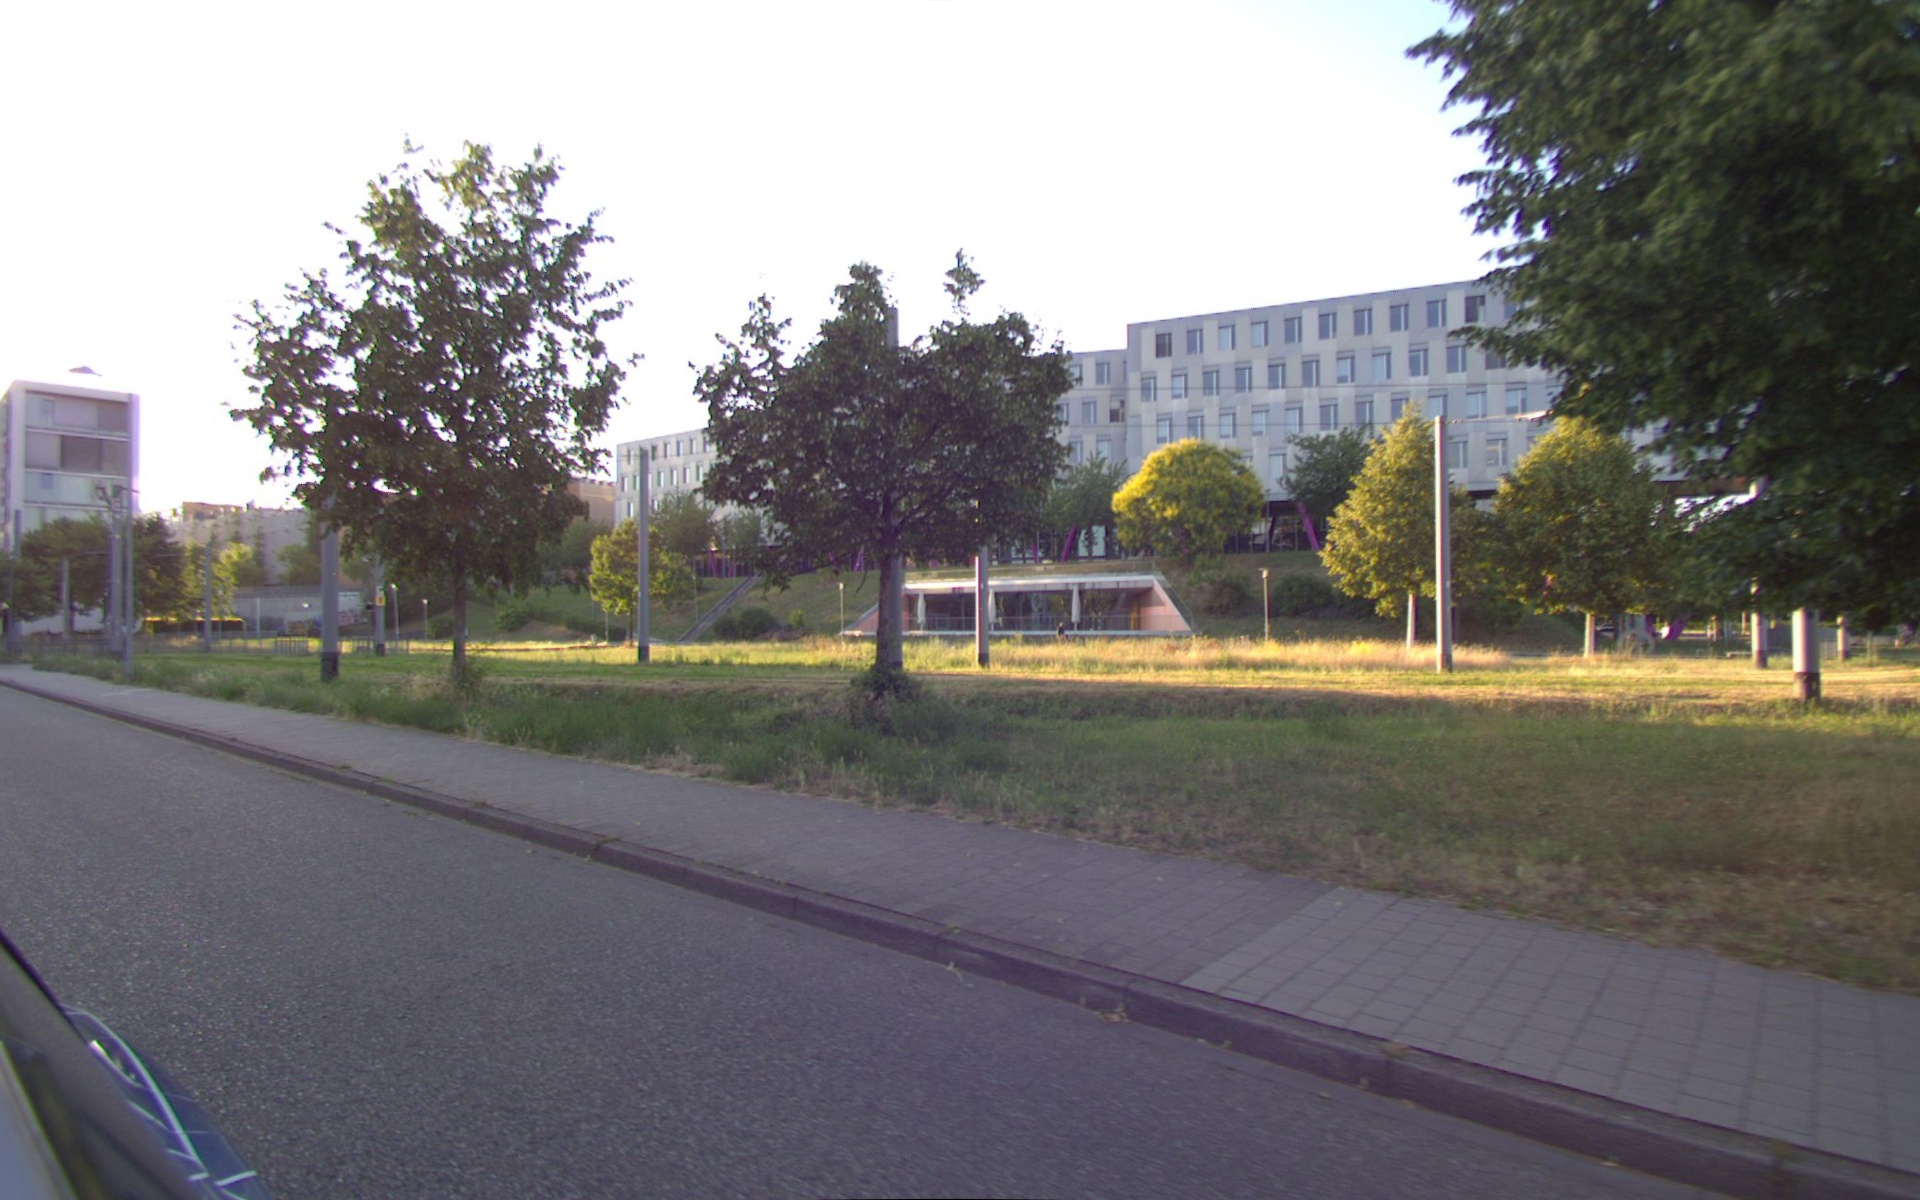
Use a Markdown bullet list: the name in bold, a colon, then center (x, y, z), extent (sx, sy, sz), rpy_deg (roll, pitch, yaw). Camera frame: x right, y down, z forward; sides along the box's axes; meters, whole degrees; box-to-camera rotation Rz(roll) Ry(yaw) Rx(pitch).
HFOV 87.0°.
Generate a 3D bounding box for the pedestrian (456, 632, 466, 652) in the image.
- **pedestrian**: center (-47.127, 3.938, 95.586), extent (0.790, 1.850, 0.610), rpy_deg (-2, 0, 40)

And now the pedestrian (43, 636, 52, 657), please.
- **pedestrian**: center (-82.357, 4.164, 91.320), extent (0.480, 1.850, 0.446), rpy_deg (-2, 0, 20)

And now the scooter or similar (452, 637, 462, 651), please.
- **scooter or similar**: center (-47.776, 4.198, 96.121), extent (0.790, 1.253, 0.610), rpy_deg (-2, 0, 40)

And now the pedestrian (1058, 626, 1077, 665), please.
- **pedestrian**: center (5.938, 2.490, 55.941), extent (0.790, 2.098, 0.610), rpy_deg (-2, 0, 40)
